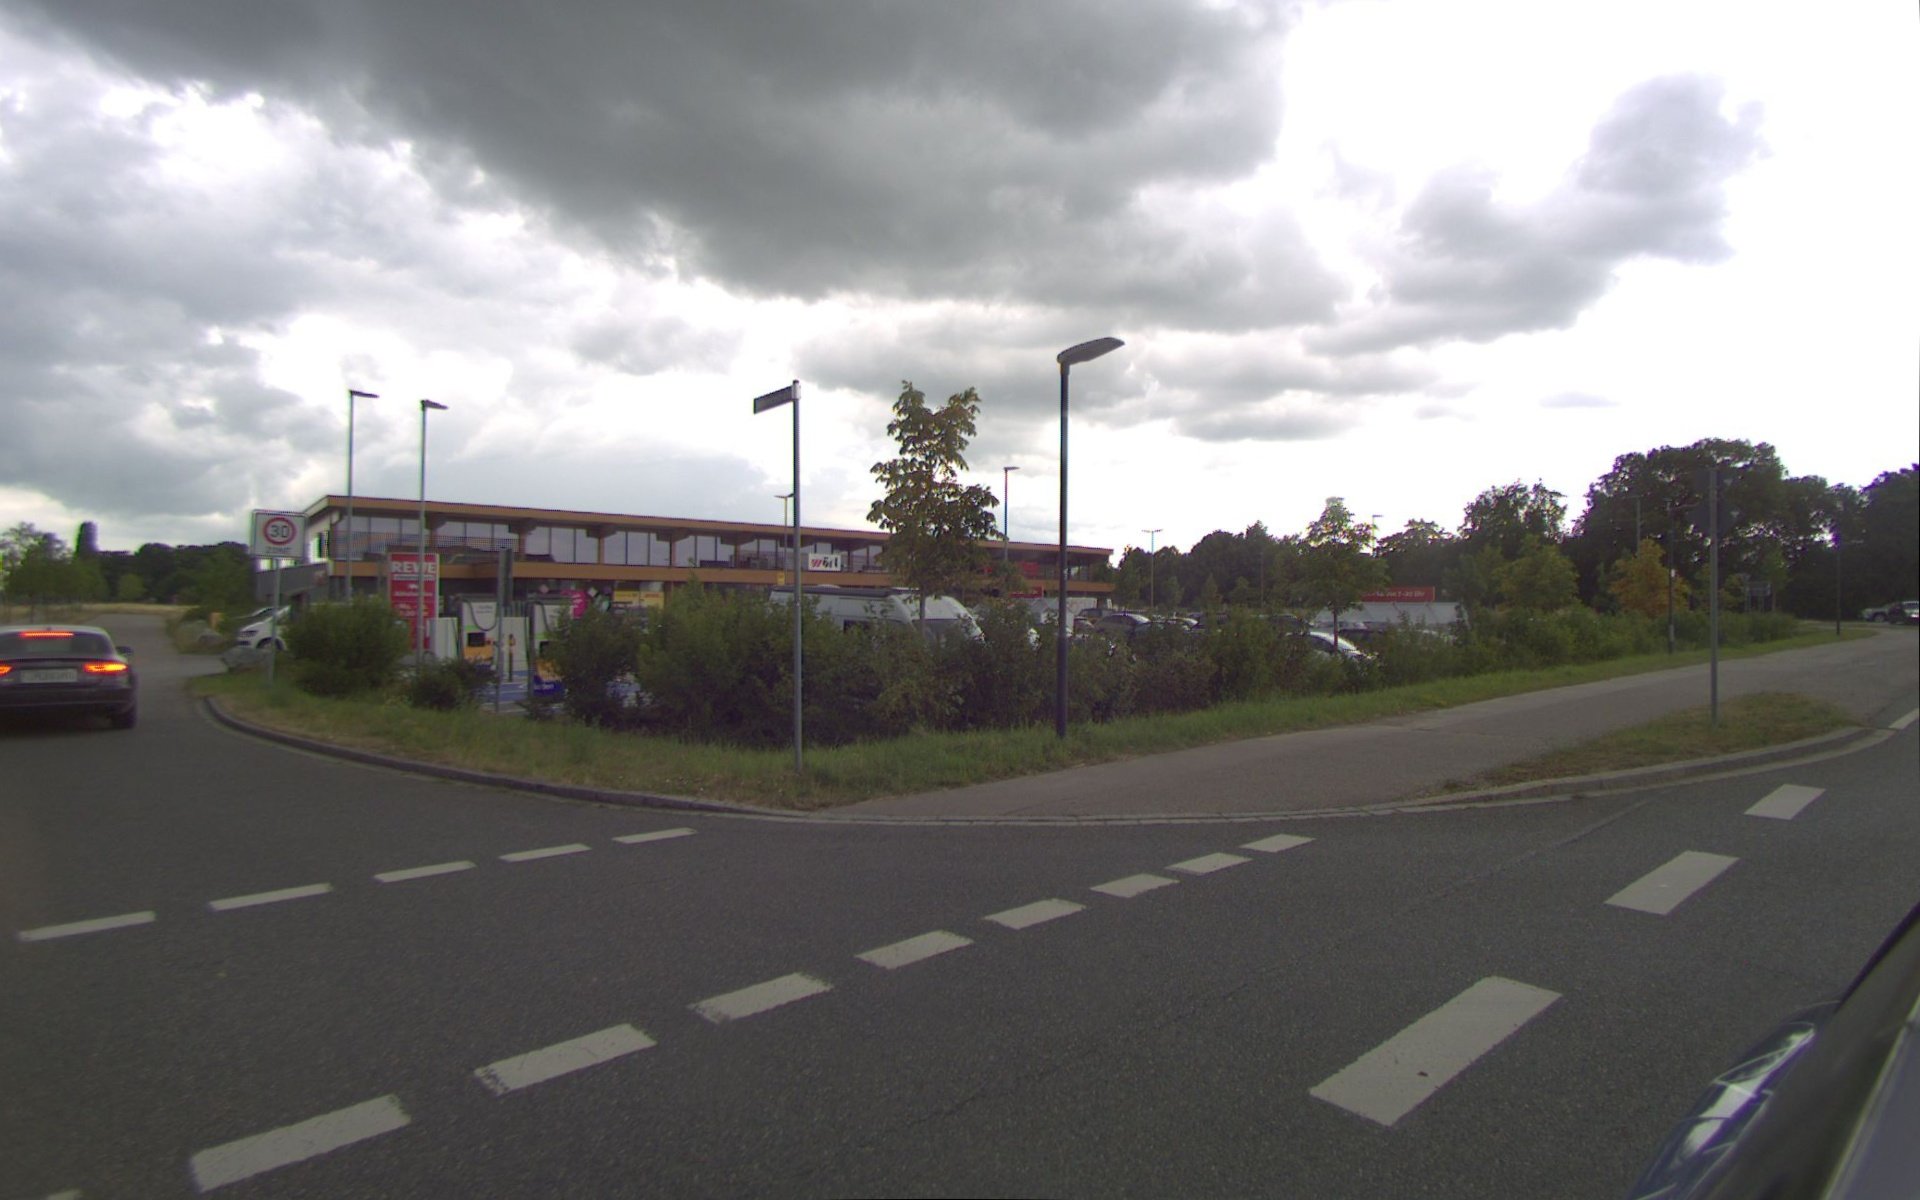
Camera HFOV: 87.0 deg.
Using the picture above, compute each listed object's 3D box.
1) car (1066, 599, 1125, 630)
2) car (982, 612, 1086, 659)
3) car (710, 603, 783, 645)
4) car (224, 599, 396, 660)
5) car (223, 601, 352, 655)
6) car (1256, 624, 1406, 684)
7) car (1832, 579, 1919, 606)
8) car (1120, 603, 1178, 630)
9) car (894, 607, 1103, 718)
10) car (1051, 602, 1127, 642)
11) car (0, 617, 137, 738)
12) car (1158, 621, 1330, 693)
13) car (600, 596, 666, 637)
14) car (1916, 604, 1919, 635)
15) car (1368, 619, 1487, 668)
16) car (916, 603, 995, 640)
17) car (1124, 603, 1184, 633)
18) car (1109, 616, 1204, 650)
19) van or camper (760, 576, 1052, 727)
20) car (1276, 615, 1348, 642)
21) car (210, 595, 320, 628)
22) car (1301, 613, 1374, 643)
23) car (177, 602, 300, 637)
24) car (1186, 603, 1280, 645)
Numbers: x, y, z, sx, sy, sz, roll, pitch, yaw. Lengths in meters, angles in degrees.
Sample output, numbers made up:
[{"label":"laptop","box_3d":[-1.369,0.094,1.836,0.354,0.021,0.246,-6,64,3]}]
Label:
[{"label":"car","box_3d":[9.703,1.026,72.754,1.962,2.039,4.000,1,1,-36]},{"label":"car","box_3d":[2.934,1.368,40.954,1.965,1.638,3.995,1,1,-40]},{"label":"car","box_3d":[-11.172,1.210,52.775,2.004,1.935,3.898,1,1,-42]},{"label":"car","box_3d":[-23.969,1.038,37.432,5.141,2.039,1.998,0,1,-40]},{"label":"car","box_3d":[-27.726,1.100,41.779,4.210,2.039,1.998,0,1,-40]},{"label":"car","box_3d":[11.697,1.655,32.109,1.647,1.557,4.152,1,1,-42]},{"label":"car","box_3d":[68.522,-0.576,75.674,4.737,1.827,1.977,2,1,33]},{"label":"car","box_3d":[14.420,1.269,77.453,2.032,1.871,4.000,1,1,-36]},{"label":"car","box_3d":[0.747,1.254,22.523,1.966,2.039,4.599,1,1,-42]},{"label":"car","box_3d":[7.147,1.187,56.374,1.962,2.039,4.000,1,1,-36]},{"label":"car","box_3d":[-12.677,0.972,14.112,1.799,1.406,4.381,1,-1,-40]},{"label":"car","box_3d":[7.833,1.514,28.194,2.045,1.618,4.152,0,1,-42]},{"label":"car","box_3d":[-17.800,0.868,55.014,1.820,2.035,4.223,1,1,-42]},{"label":"car","box_3d":[61.098,1.240,63.082,1.992,1.861,3.940,2,1,41]},{"label":"car","box_3d":[17.737,1.605,38.510,1.647,1.557,3.761,1,1,-42]},{"label":"car","box_3d":[-0.327,1.268,62.595,1.966,2.039,5.137,1,1,-42]},{"label":"car","box_3d":[14.346,1.277,74.930,2.032,2.039,4.000,1,1,-36]},{"label":"car","box_3d":[9.159,1.497,47.343,1.965,1.460,3.992,0,-1,-41]},{"label":"van or camper","box_3d":[-1.325,0.832,20.470,2.243,2.495,6.474,1,1,-43]},{"label":"car","box_3d":[23.206,1.841,66.847,1.962,1.504,4.131,1,1,-36]},{"label":"car","box_3d":[-32.868,0.511,47.925,4.125,1.428,1.998,0,1,-40]},{"label":"car","box_3d":[21.964,1.611,58.931,1.723,1.552,3.554,1,1,-42]},{"label":"car","box_3d":[-30.901,0.795,43.389,4.181,1.366,1.836,0,1,-40]},{"label":"car","box_3d":[13.674,1.163,50.952,1.962,1.894,4.274,1,1,-36]}]
